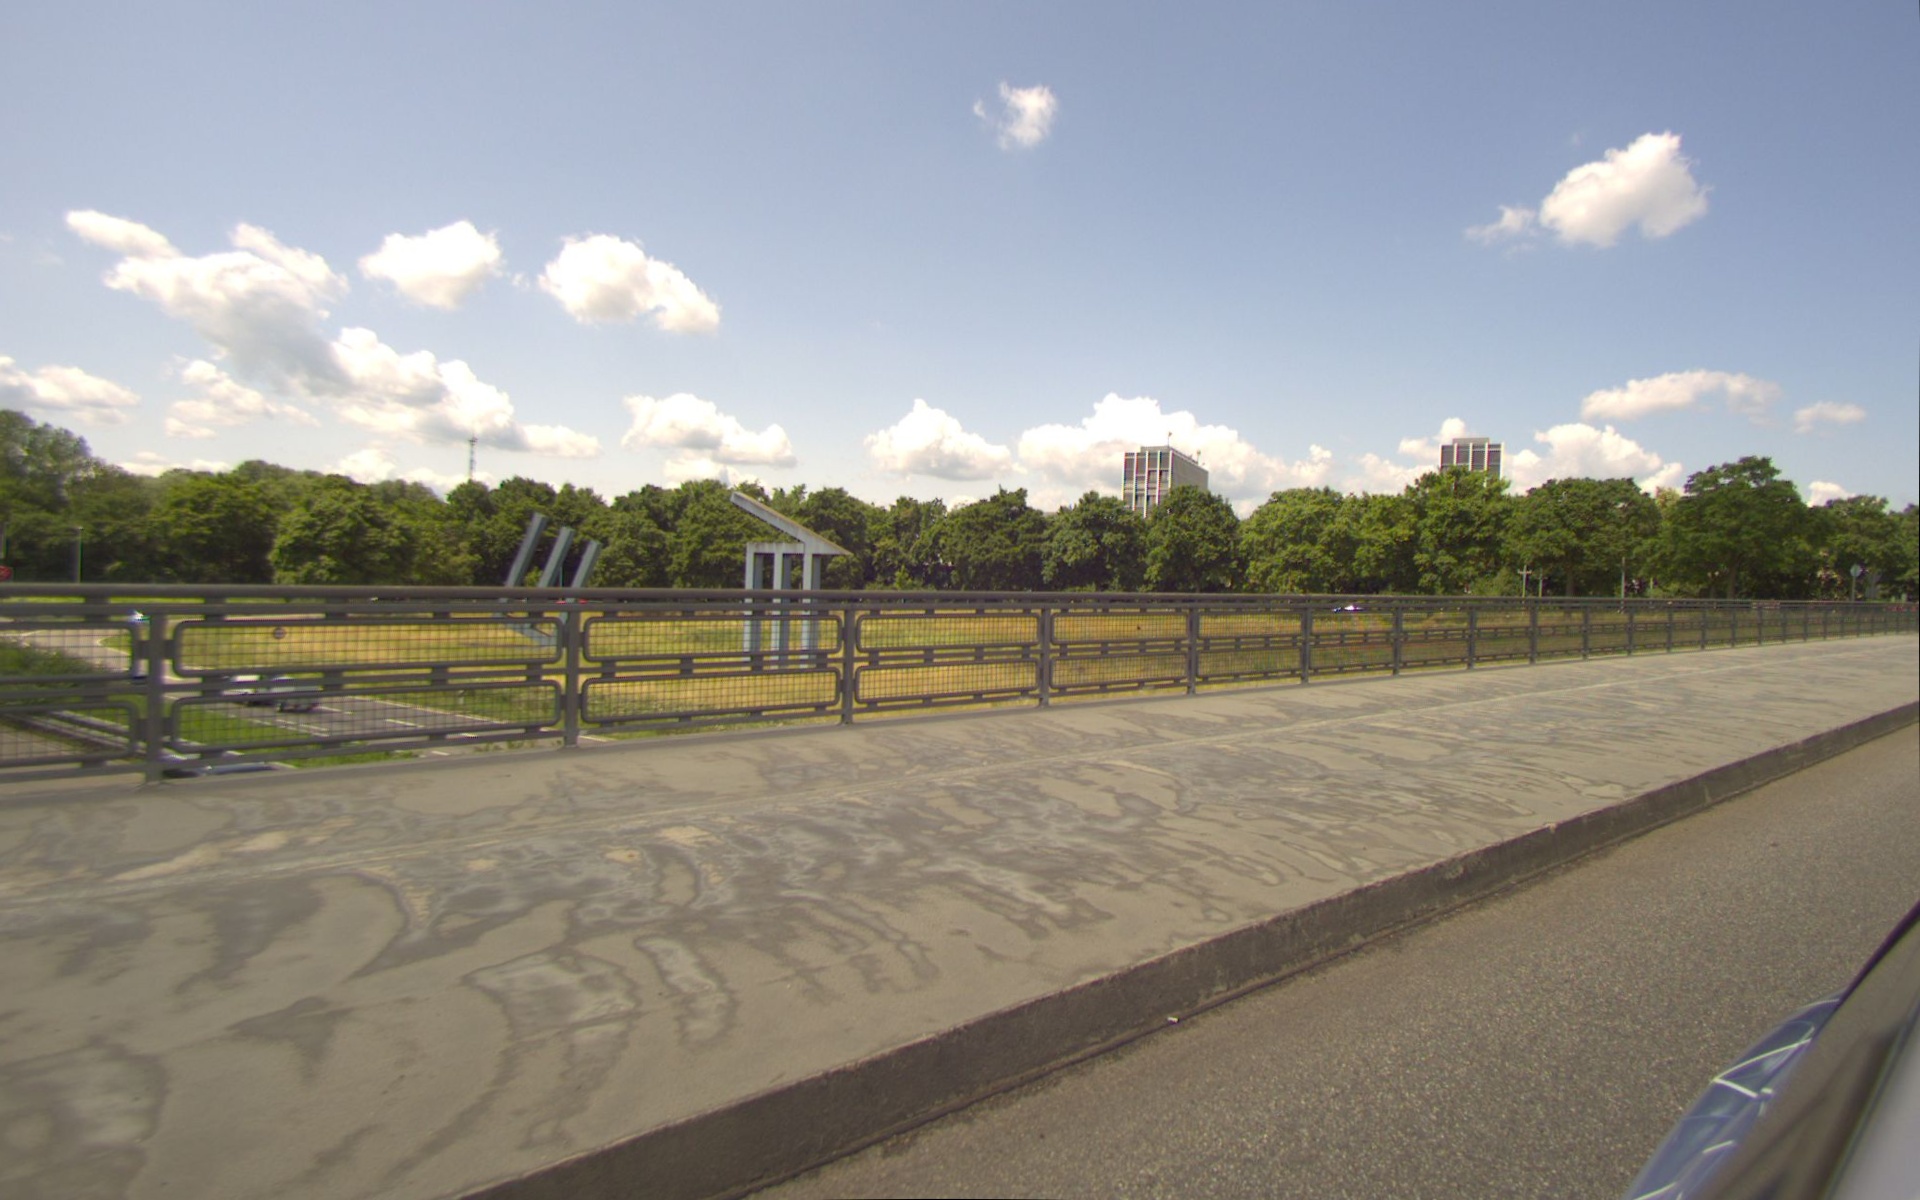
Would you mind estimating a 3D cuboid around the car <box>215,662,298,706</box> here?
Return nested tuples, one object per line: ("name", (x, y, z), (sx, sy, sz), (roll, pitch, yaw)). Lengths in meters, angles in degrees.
("car", (-35.470, 4.187, 51.042), (3.968, 1.861, 1.978), (1, 0, 31))

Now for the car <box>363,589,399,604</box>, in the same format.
("car", (-74.958, -0.448, 131.003), (3.918, 1.906, 2.003), (1, 0, -27))

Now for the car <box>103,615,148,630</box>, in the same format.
("car", (-77.061, 2.083, 93.460), (3.968, 1.304, 1.978), (1, 0, 31))

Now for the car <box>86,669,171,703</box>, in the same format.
("car", (-40.401, 4.142, 49.138), (3.968, 1.304, 1.978), (1, 0, 31))

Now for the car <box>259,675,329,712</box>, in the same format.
("car", (-32.391, 4.509, 49.232), (3.122, 1.490, 1.644), (1, 0, 31))
